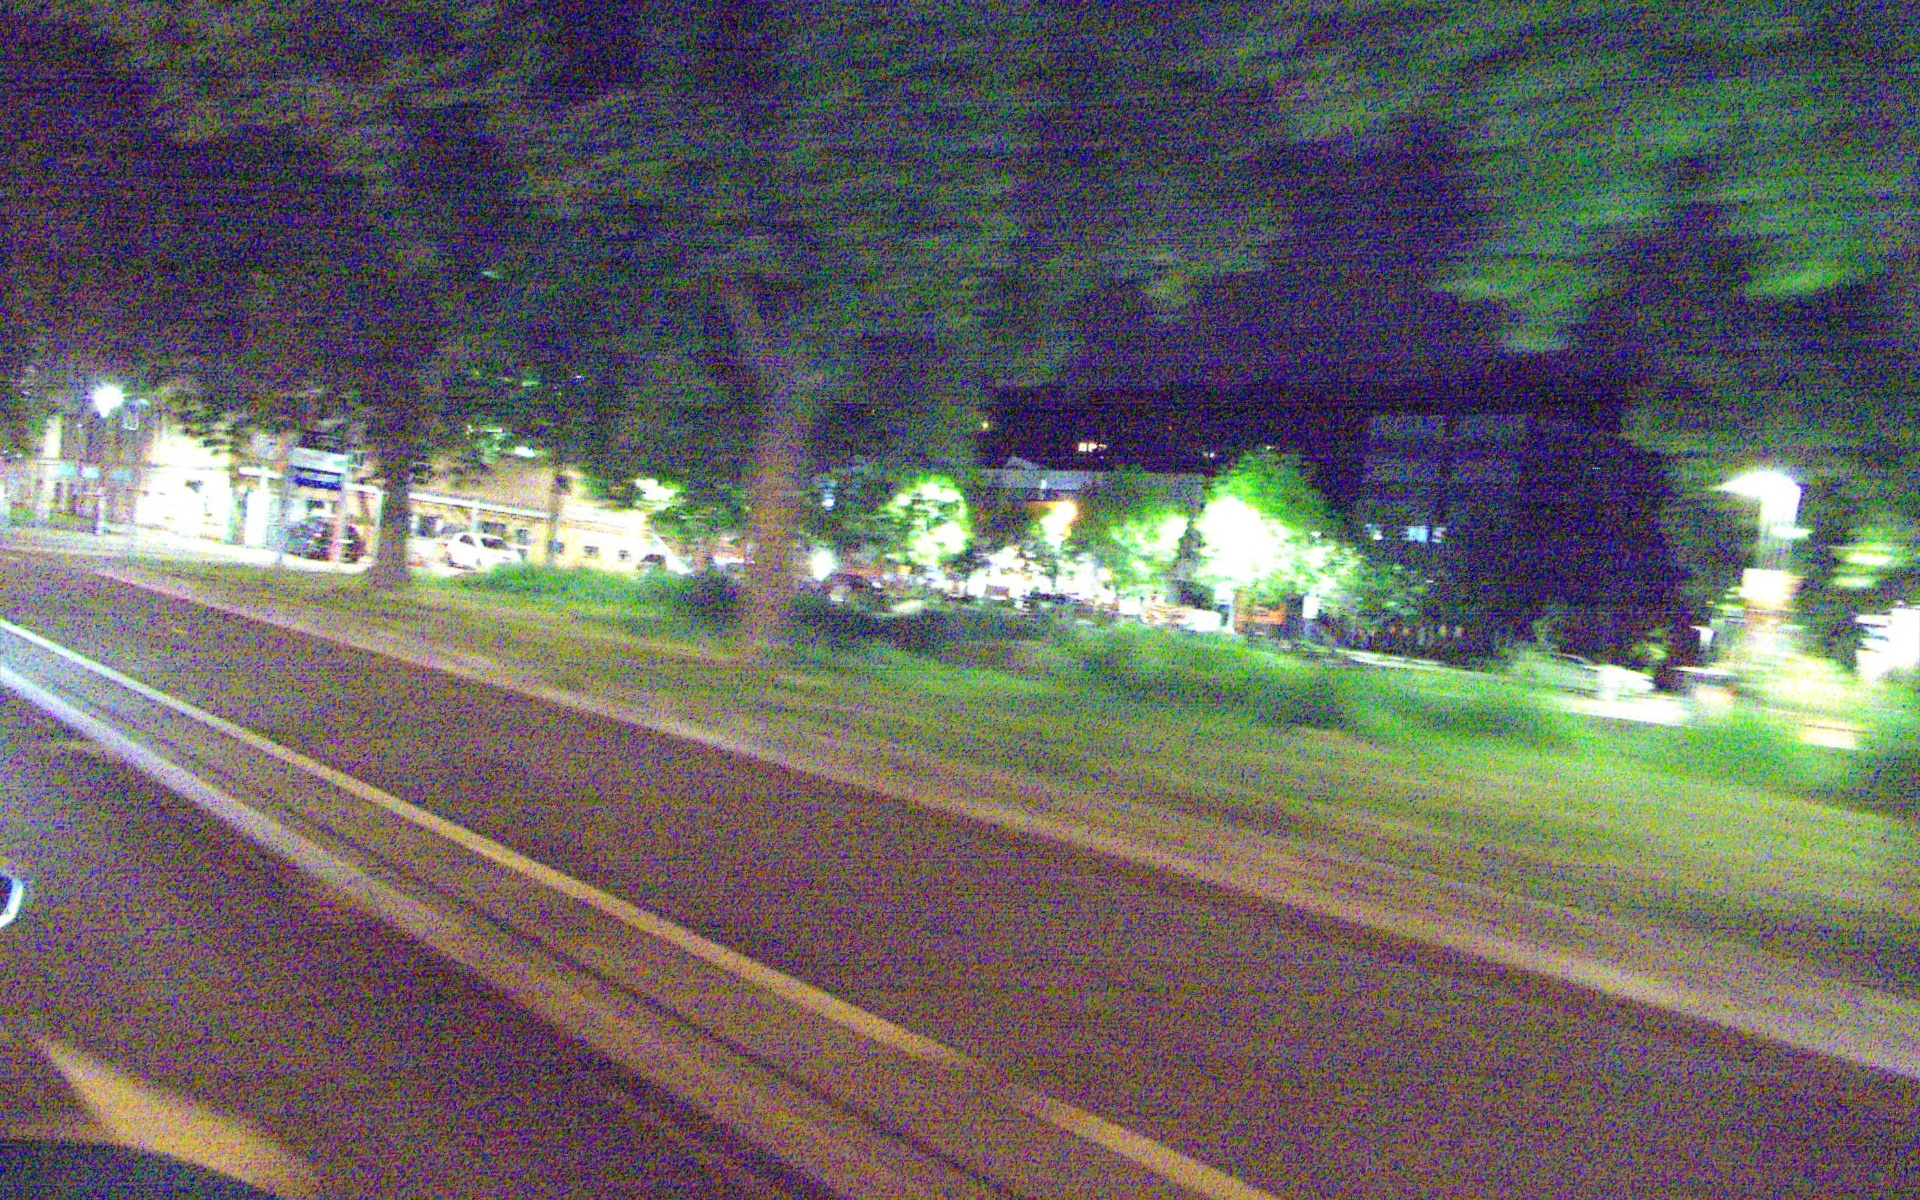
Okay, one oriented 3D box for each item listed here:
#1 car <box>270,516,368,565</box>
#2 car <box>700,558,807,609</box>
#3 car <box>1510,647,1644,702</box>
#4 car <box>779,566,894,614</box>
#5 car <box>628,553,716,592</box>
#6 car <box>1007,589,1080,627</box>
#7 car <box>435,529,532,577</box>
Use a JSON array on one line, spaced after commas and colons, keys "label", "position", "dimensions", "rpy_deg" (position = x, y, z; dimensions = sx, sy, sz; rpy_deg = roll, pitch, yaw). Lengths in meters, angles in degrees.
[{"label": "car", "position": [-23.969, -2.248, 37.566], "dimensions": [4.412, 1.413, 1.512], "rpy_deg": [7, 1, 36]}, {"label": "car", "position": [-8.155, -0.675, 39.583], "dimensions": [4.035, 1.553, 1.767], "rpy_deg": [7, 1, 36]}, {"label": "car", "position": [24.187, 2.870, 39.481], "dimensions": [4.234, 1.528, 1.992], "rpy_deg": [7, 2, 36]}, {"label": "car", "position": [-5.381, -0.446, 43.473], "dimensions": [4.815, 1.532, 1.888], "rpy_deg": [7, 1, 35]}, {"label": "car", "position": [-14.409, -1.378, 50.224], "dimensions": [4.174, 1.447, 1.993], "rpy_deg": [7, 1, 36]}, {"label": "car", "position": [4.967, 0.487, 59.331], "dimensions": [2.048, 1.788, 4.533], "rpy_deg": [7, 1, 37]}, {"label": "car", "position": [-20.099, -1.980, 42.391], "dimensions": [3.934, 1.553, 1.783], "rpy_deg": [7, 1, 32]}]
